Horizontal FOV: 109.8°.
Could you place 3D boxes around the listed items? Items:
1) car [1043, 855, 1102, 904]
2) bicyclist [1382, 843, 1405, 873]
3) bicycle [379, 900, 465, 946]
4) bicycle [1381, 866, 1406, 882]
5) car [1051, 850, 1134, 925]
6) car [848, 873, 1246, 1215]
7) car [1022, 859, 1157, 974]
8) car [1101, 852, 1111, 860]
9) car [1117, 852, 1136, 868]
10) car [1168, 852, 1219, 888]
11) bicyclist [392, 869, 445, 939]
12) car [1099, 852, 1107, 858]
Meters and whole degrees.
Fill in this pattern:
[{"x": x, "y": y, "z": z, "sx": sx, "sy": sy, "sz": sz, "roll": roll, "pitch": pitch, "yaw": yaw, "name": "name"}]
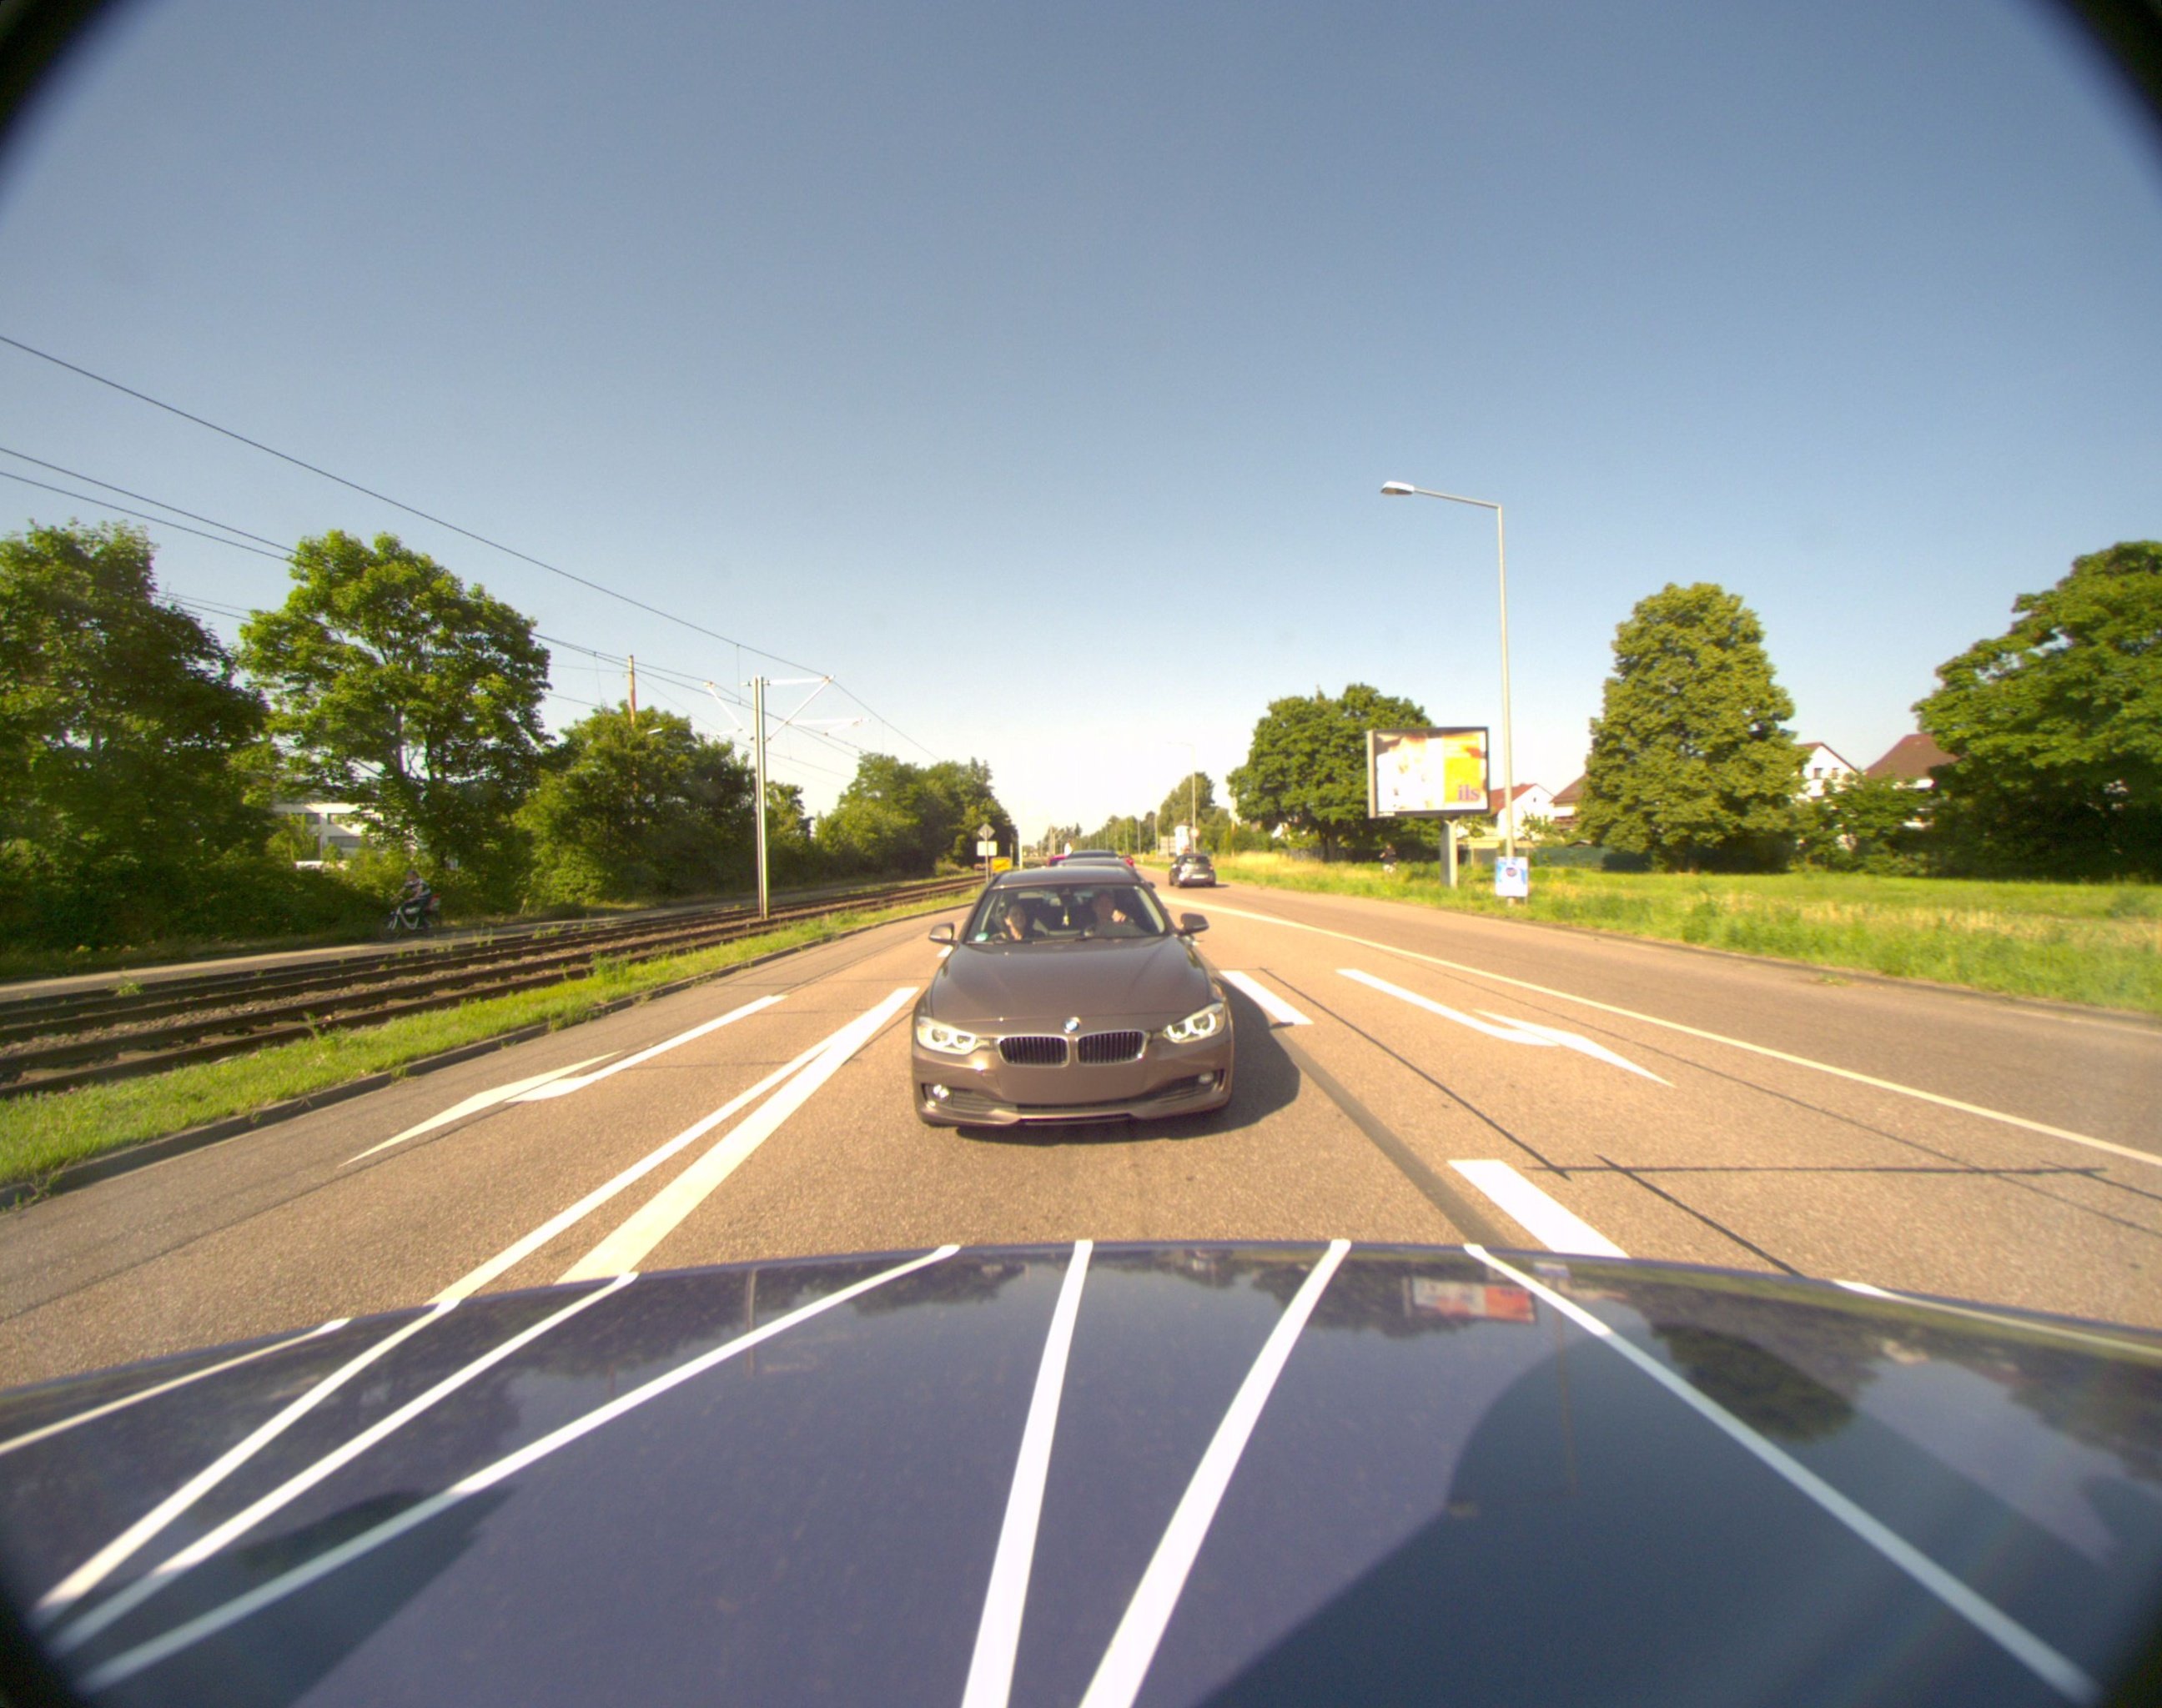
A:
[{"x": -0.249, "y": 0.811, "z": 26.051, "sx": 1.807, "sy": 1.498, "sz": 4.197, "roll": -1, "pitch": 0, "yaw": 0, "name": "car"}, {"x": 15.265, "y": 0.178, "z": 37.131, "sx": 0.638, "sy": 1.420, "sz": 1.071, "roll": -1, "pitch": 1, "yaw": 1, "name": "bicyclist"}, {"x": -17.455, "y": 1.808, "z": 20.178, "sx": 0.547, "sy": 1.041, "sz": 1.874, "roll": -1, "pitch": 0, "yaw": 3, "name": "bicycle"}, {"x": 15.270, "y": 0.964, "z": 37.162, "sx": 0.455, "sy": 0.749, "sz": 1.834, "roll": -1, "pitch": 0, "yaw": 1, "name": "bicycle"}, {"x": 0.284, "y": 0.764, "z": 19.630, "sx": 1.821, "sy": 1.641, "sz": 4.611, "roll": -2, "pitch": 0, "yaw": 0, "name": "car"}, {"x": -0.135, "y": 0.960, "z": 5.823, "sx": 1.821, "sy": 1.416, "sz": 4.461, "roll": -2, "pitch": 0, "yaw": 1, "name": "car"}, {"x": 0.136, "y": 0.875, "z": 12.717, "sx": 1.821, "sy": 1.481, "sz": 4.611, "roll": -1, "pitch": 0, "yaw": 0, "name": "car"}, {"x": 5.311, "y": 0.412, "z": 162.435, "sx": 1.784, "sy": 1.469, "sz": 4.284, "roll": -1, "pitch": 0, "yaw": -4, "name": "car"}, {"x": 4.288, "y": 0.523, "z": 71.657, "sx": 1.698, "sy": 1.489, "sz": 3.677, "roll": 0, "pitch": 0, "yaw": 5, "name": "car"}, {"x": 5.082, "y": 0.683, "z": 34.651, "sx": 1.637, "sy": 1.551, "sz": 3.675, "roll": -1, "pitch": 0, "yaw": -2, "name": "car"}, {"x": -17.535, "y": 1.306, "z": 20.121, "sx": 0.708, "sy": 1.797, "sz": 0.718, "roll": -1, "pitch": 1, "yaw": 3, "name": "bicyclist"}, {"x": 5.548, "y": 0.160, "z": 193.170, "sx": 1.784, "sy": 1.469, "sz": 4.285, "roll": -1, "pitch": 0, "yaw": -2, "name": "car"}]
